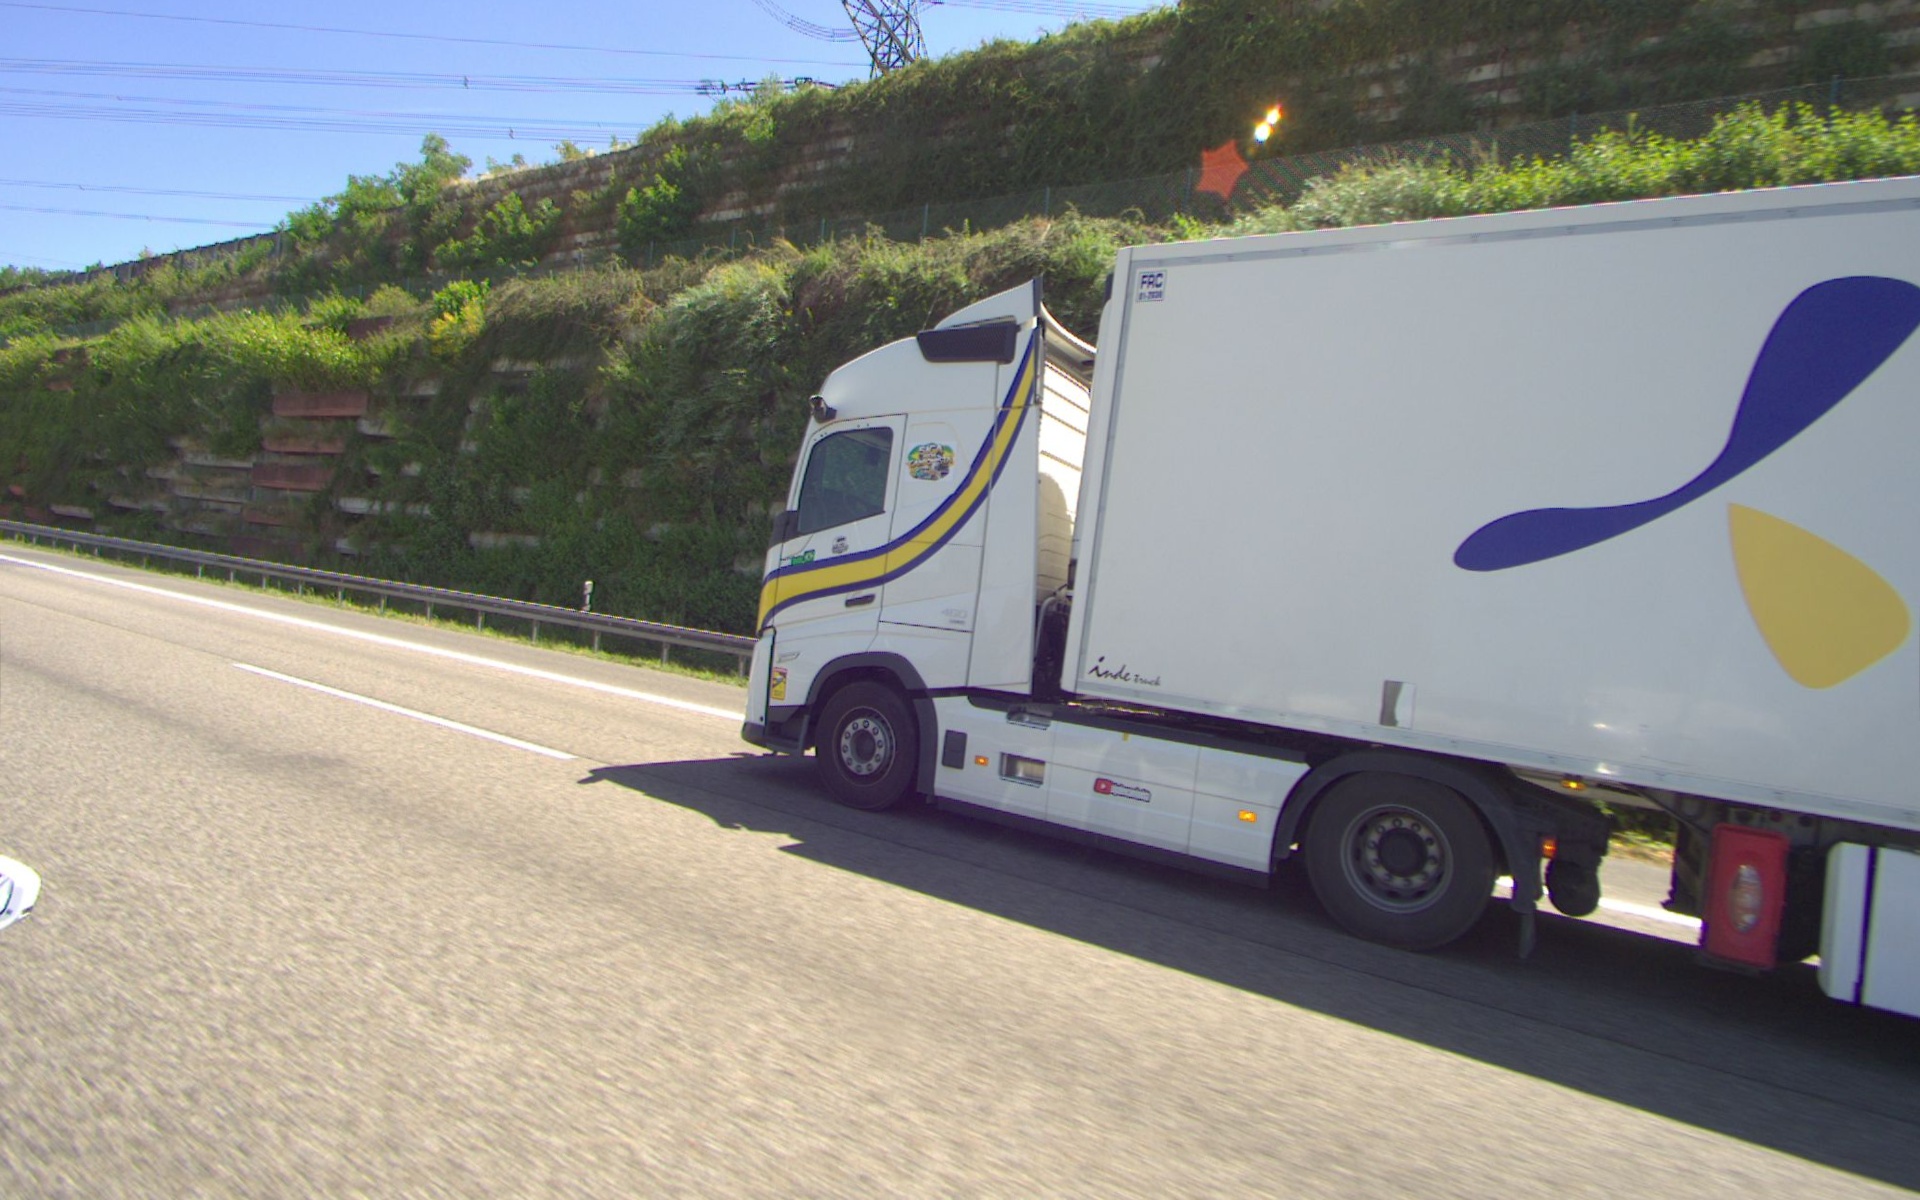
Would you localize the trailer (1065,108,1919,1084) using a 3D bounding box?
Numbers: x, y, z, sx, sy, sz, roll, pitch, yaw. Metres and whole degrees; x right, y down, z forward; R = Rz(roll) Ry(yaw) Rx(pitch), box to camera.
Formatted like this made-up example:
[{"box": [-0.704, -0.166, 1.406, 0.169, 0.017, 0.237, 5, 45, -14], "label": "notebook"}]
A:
[{"box": [8.622, 0.468, 3.114, 16.746, 4.264, 2.517, 7, 0, 32], "label": "trailer"}]

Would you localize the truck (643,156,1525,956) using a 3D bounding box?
[{"box": [0.727, -0.409, 8.067, 6.153, 4.272, 2.510, 6, 0, 32], "label": "truck"}]
